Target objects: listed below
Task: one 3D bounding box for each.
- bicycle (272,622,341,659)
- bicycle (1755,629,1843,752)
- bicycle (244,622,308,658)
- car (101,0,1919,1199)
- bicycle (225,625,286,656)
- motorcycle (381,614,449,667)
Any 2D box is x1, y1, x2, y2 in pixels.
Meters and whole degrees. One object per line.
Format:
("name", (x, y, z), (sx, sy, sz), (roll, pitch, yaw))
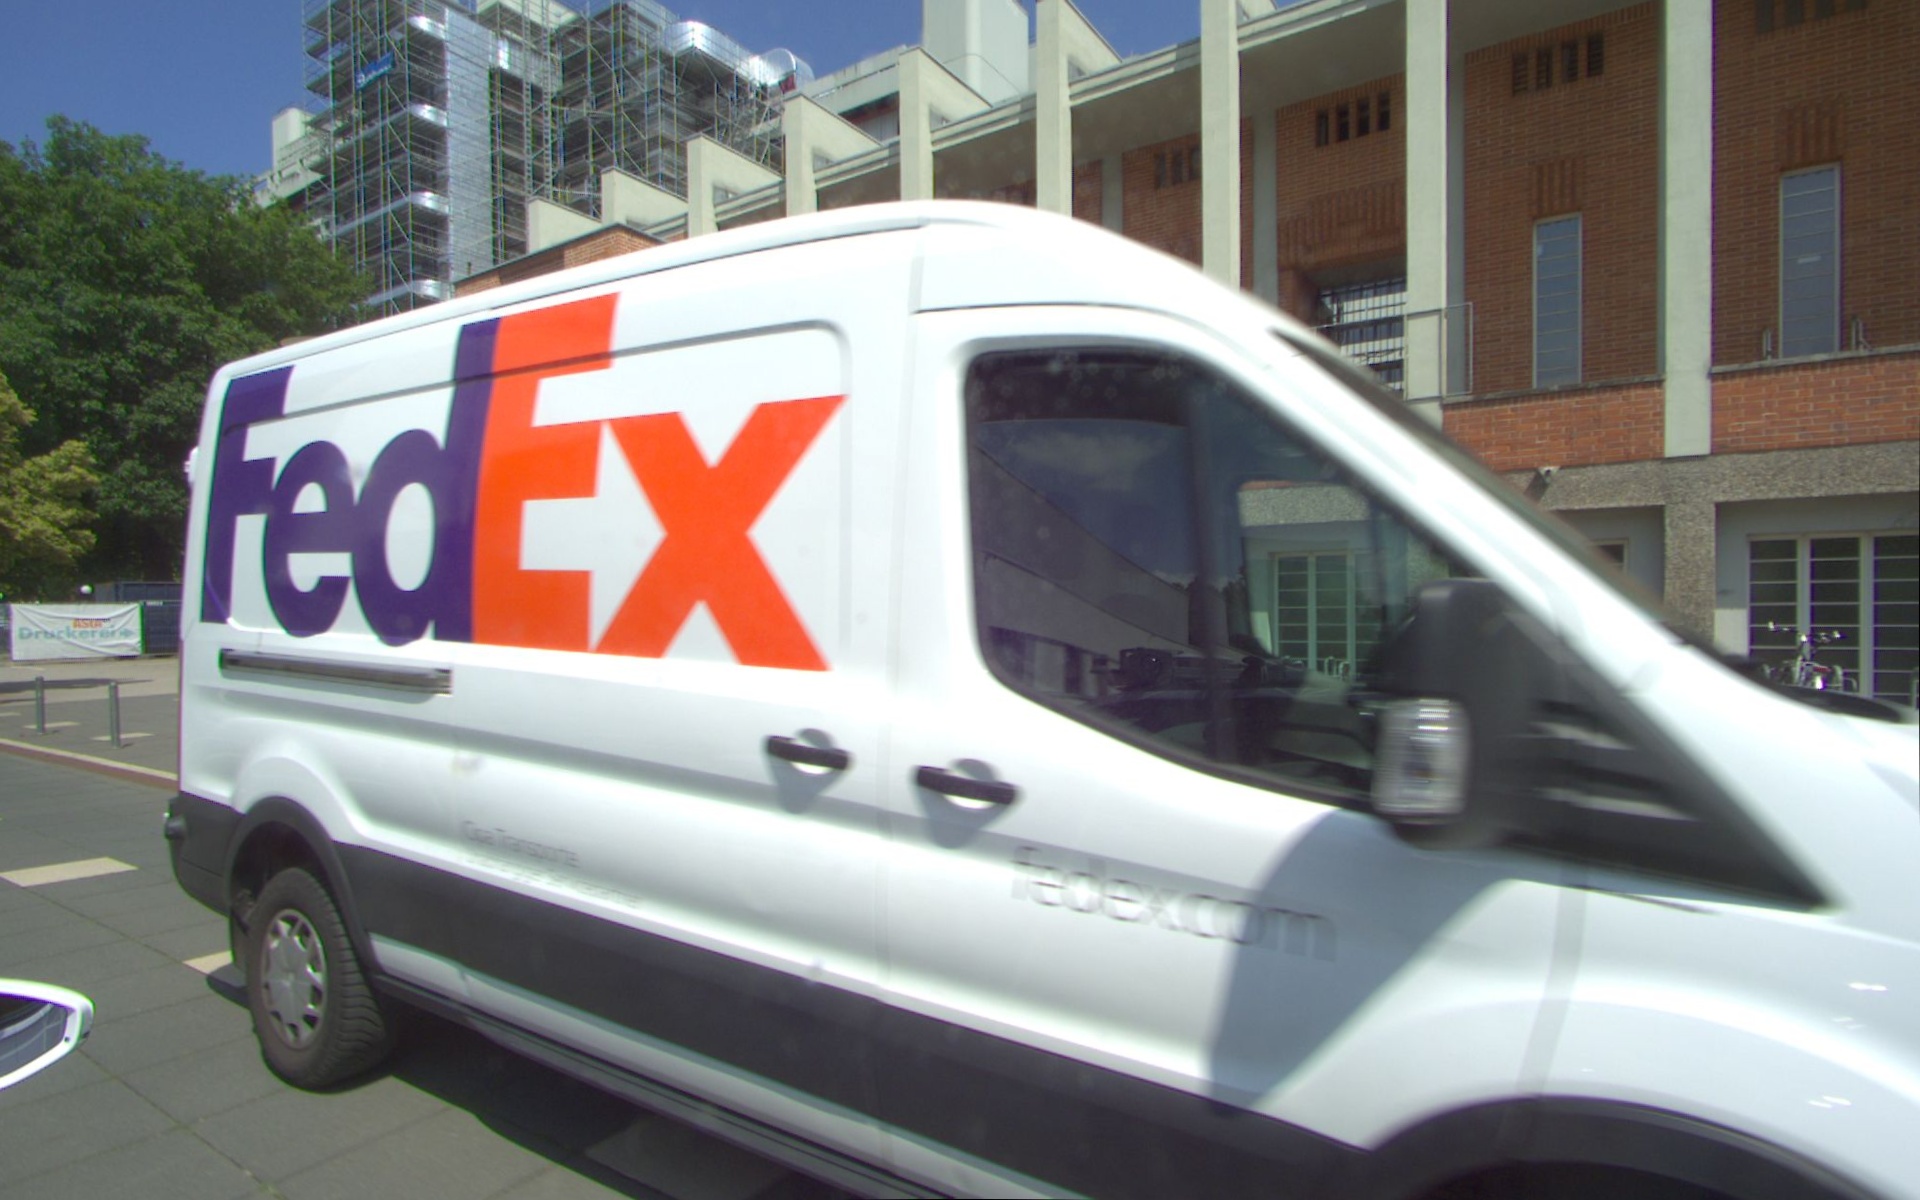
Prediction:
("bicycle", (-20.711, 1.262, 31.782), (0.441, 1.124, 1.801), (0, 0, 34))
("bicycle", (8.708, 0.886, 10.444), (0.429, 1.125, 1.907), (0, 0, 32))
("bicycle", (-22.430, 1.292, 32.863), (0.441, 1.124, 1.697), (0, 0, 34))
("car", (-0.325, 0.288, 3.201), (5.765, 2.577, 2.055), (-1, 0, 32))
("bicycle", (-24.184, 1.390, 34.418), (0.441, 1.016, 1.667), (0, 0, 34))
("motorcycle", (-14.320, 1.051, 26.290), (2.191, 1.341, 0.693), (-1, 0, 36))
